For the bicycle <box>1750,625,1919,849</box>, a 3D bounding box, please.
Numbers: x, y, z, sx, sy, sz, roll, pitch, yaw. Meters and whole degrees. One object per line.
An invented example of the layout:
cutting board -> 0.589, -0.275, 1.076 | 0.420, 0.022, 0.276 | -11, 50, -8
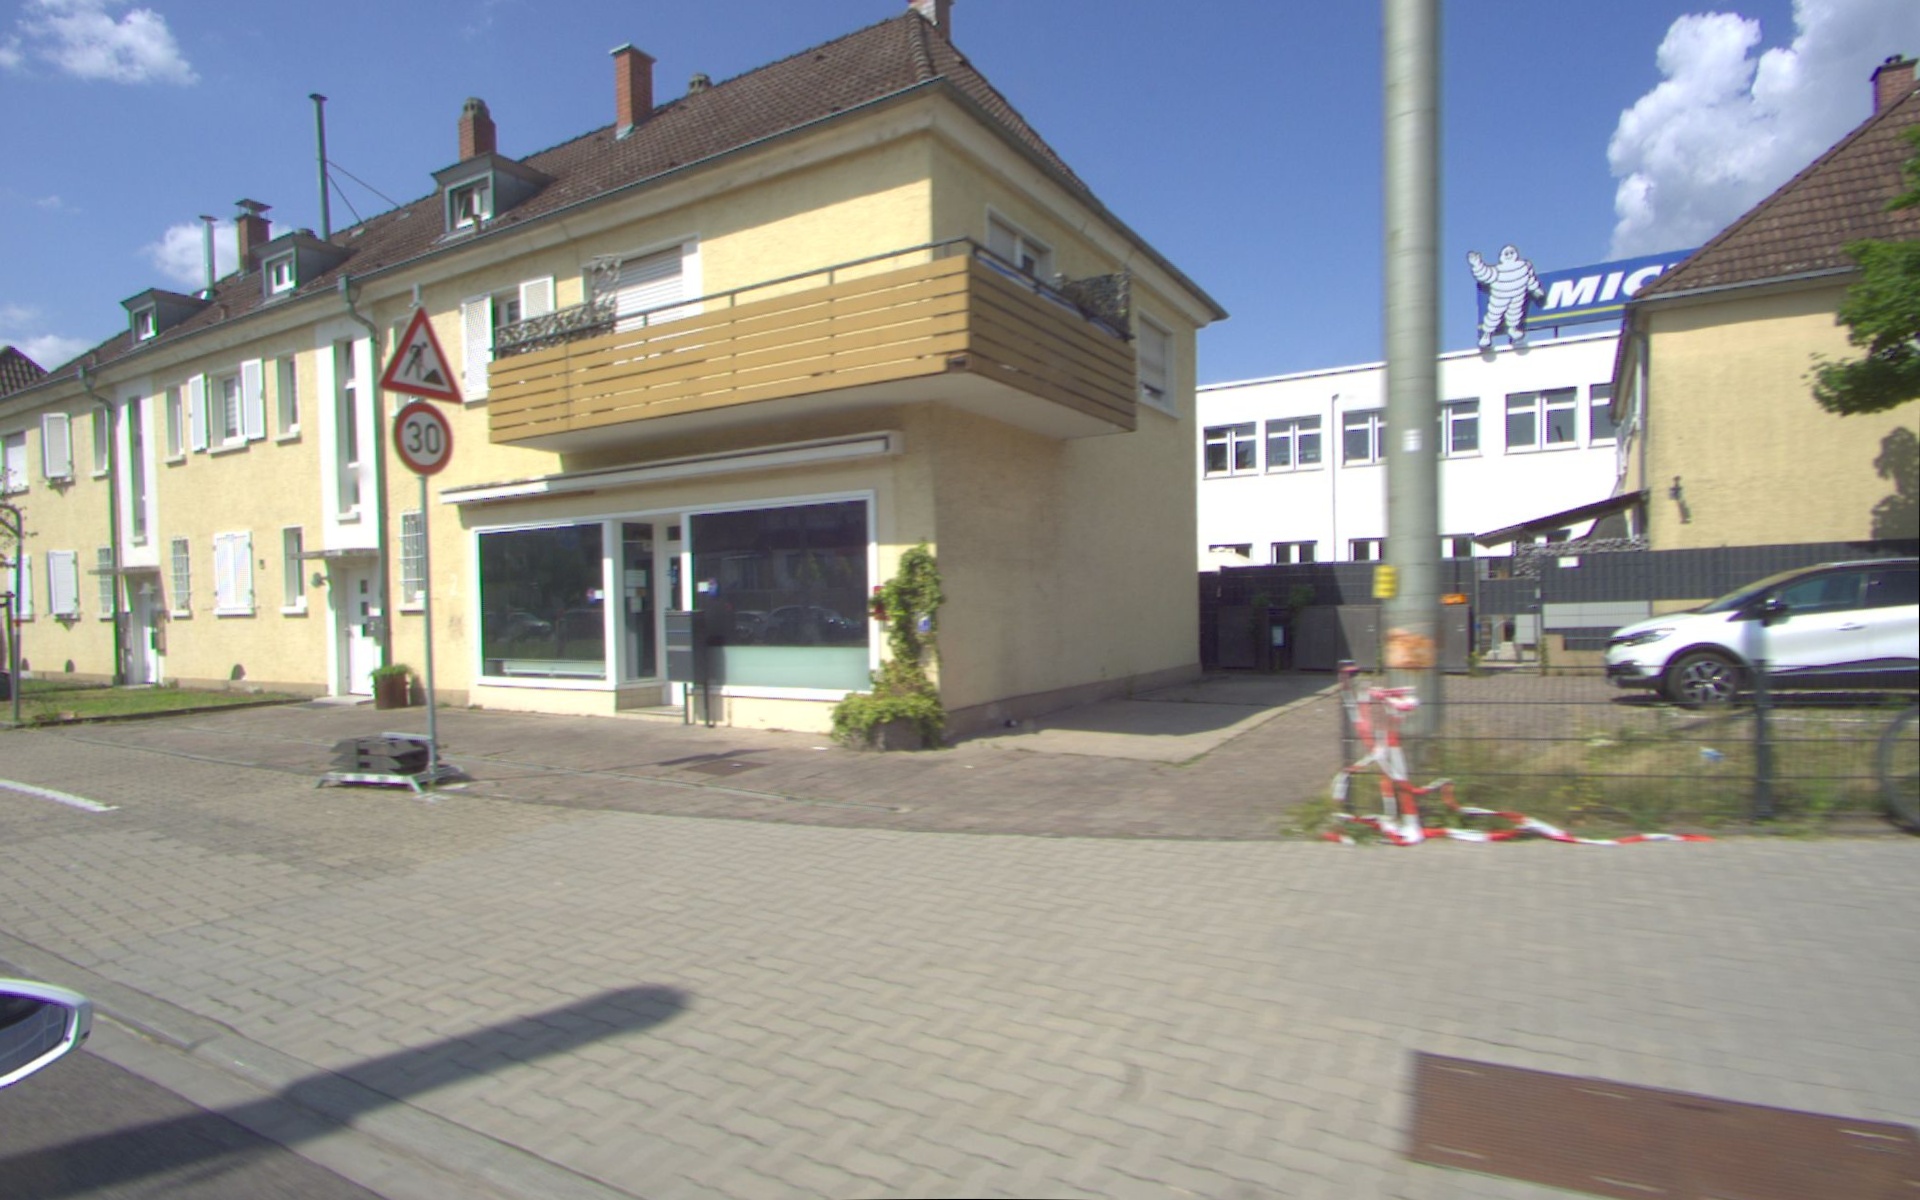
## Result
bicycle -> 5.566, 0.688, 5.213 | 2.234, 1.111, 0.594 | -1, 1, 12

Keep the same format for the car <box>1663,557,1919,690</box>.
car -> 11.882, 0.297, 13.283 | 3.939, 1.642, 1.820 | -3, 0, 28

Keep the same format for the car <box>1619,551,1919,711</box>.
car -> 9.902, 0.327, 11.270 | 3.939, 1.642, 1.820 | -3, 0, 28
